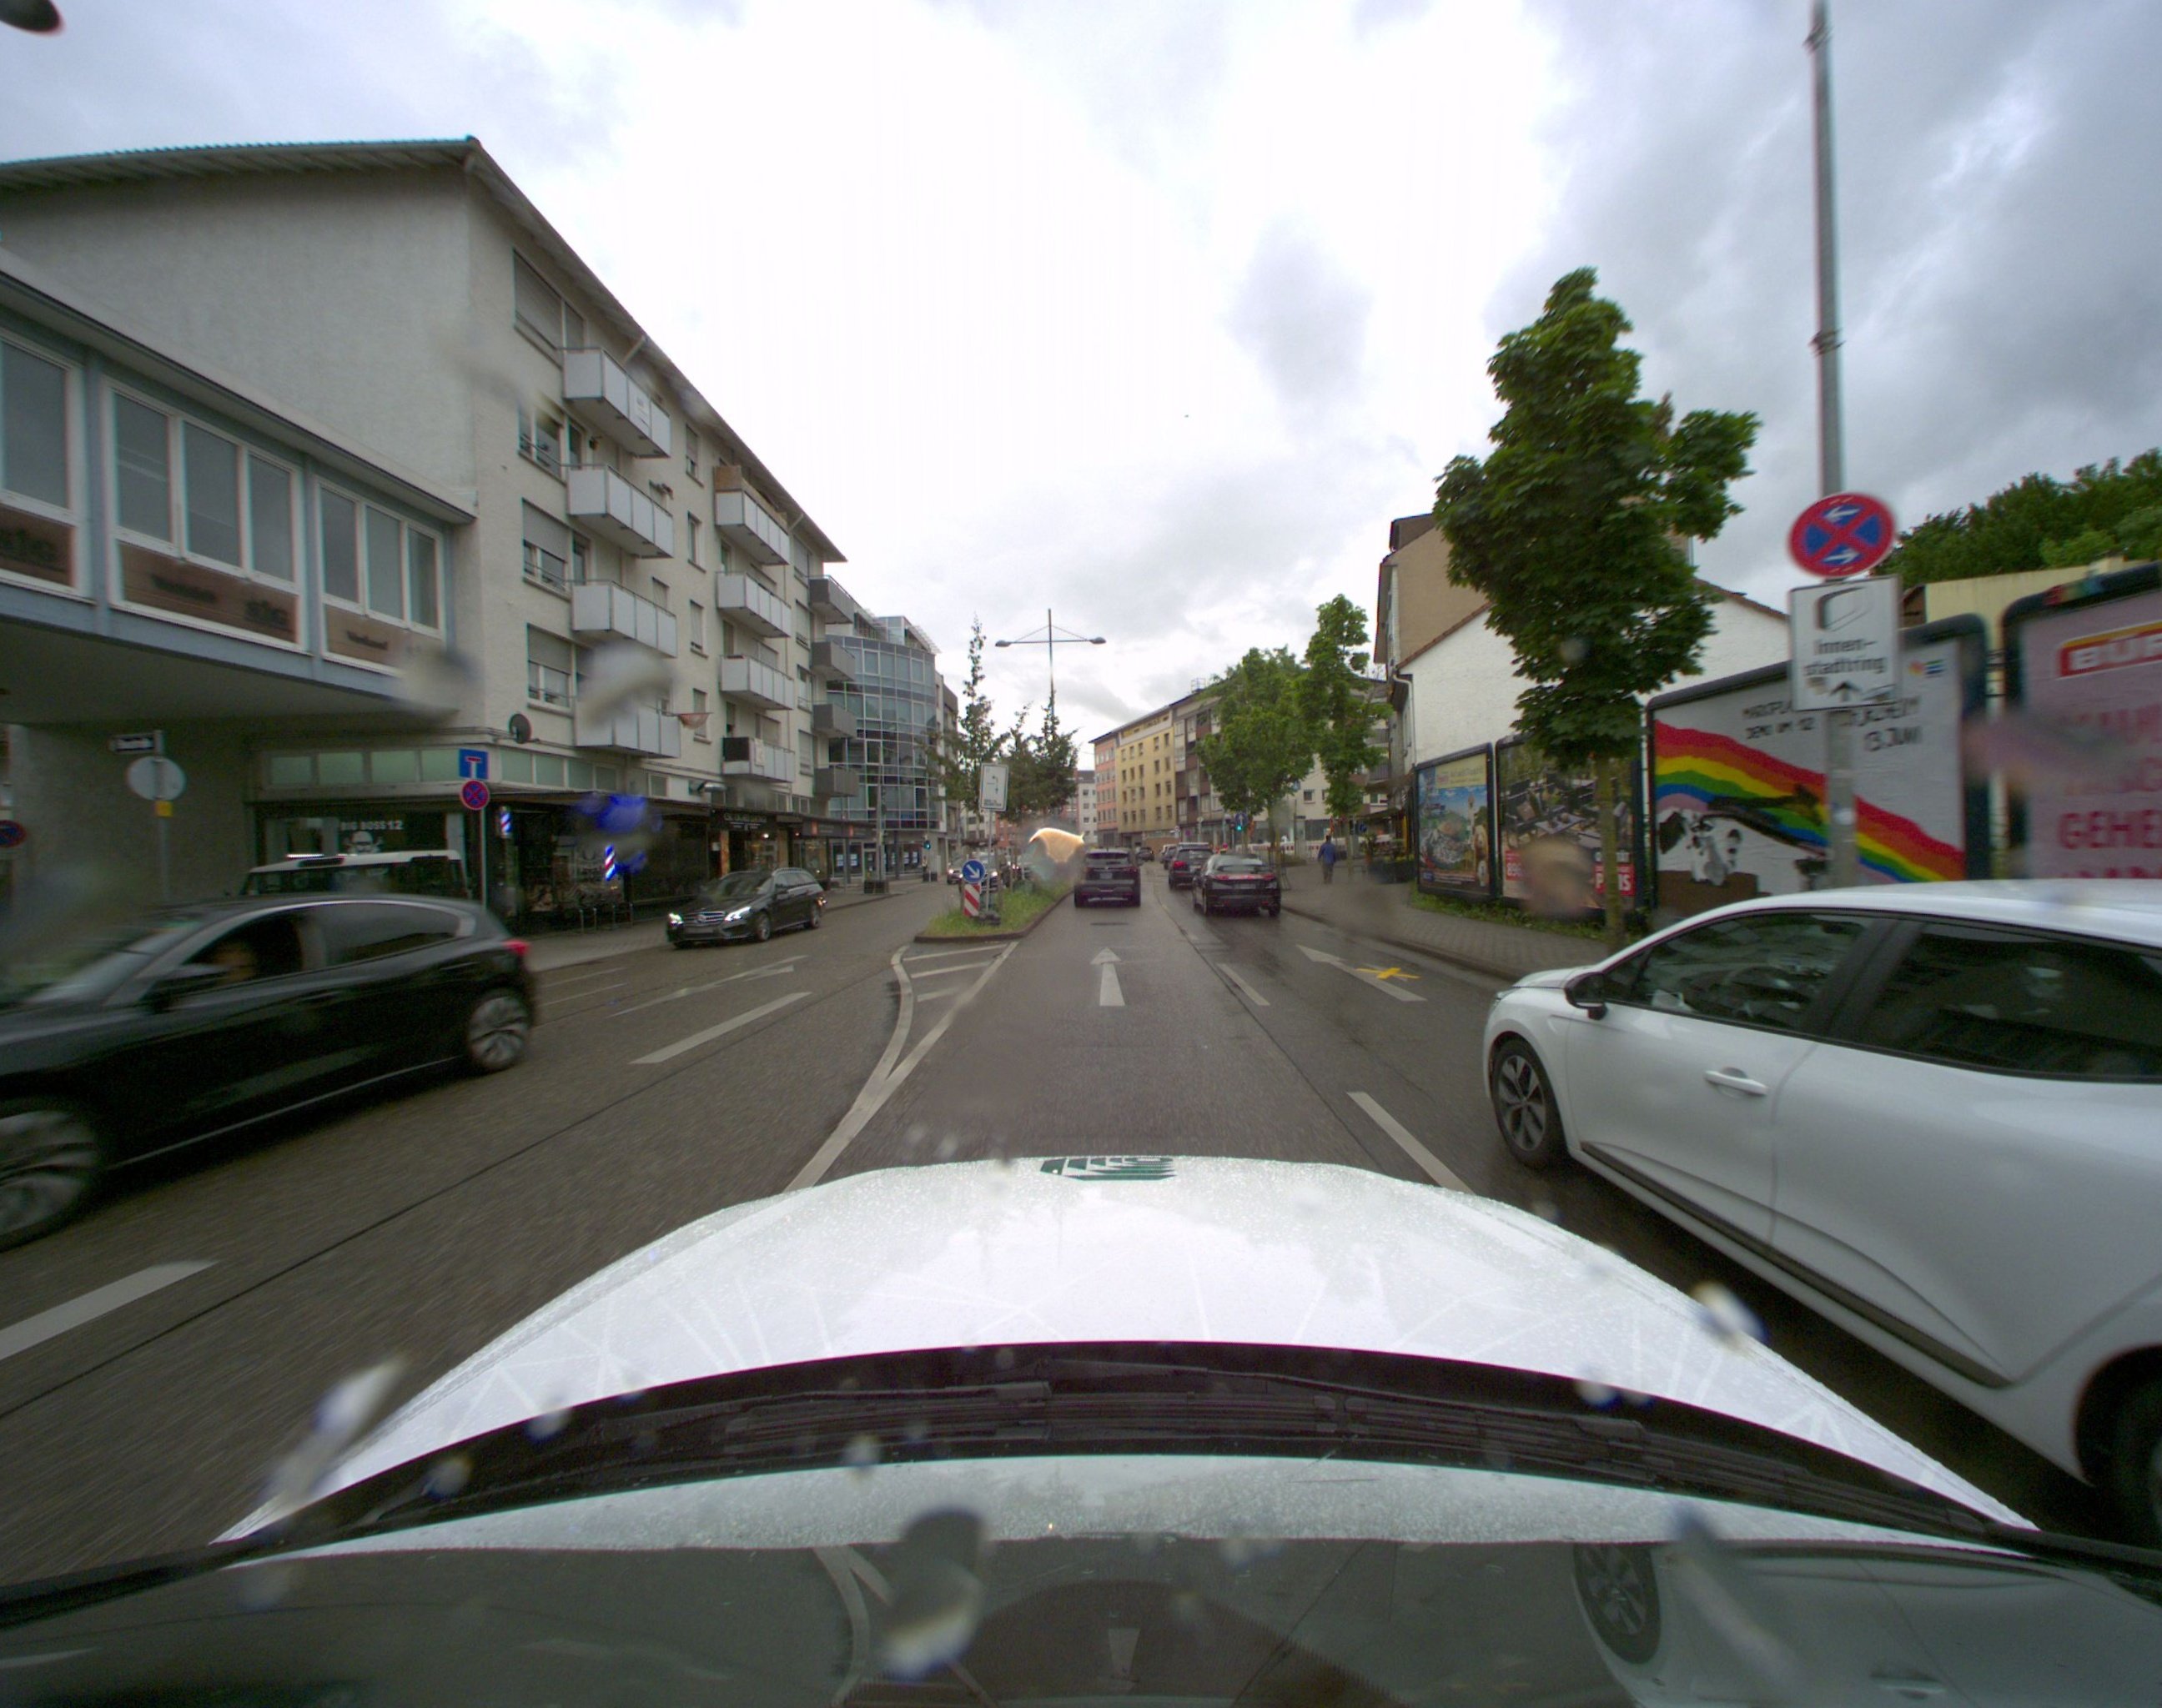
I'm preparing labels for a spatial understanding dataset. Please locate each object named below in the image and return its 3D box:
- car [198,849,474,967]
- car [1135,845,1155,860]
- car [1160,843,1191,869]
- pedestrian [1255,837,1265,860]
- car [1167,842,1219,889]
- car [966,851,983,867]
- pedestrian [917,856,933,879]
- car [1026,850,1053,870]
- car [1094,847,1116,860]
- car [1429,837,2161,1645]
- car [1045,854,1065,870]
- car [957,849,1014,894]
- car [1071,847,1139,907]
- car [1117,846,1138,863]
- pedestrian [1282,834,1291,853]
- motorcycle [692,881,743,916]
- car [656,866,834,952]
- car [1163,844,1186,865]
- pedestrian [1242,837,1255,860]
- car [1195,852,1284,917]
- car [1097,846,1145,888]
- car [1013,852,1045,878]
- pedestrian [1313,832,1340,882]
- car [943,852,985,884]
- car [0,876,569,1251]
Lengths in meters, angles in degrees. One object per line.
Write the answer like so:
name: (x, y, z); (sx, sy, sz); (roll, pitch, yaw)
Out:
car: (-14.211, 0.995, 15.656); (3.944, 2.034, 1.582); (-2, 0, 4)
car: (6.757, -0.204, 86.715); (1.704, 1.611, 3.725); (0, 1, -2)
car: (6.033, 0.118, 52.276); (1.822, 1.562, 3.722); (0, 1, 3)
pedestrian: (15.799, -0.457, 71.955); (0.818, 2.013, 0.841); (0, 0, 5)
car: (4.456, 0.414, 32.921); (1.822, 1.805, 3.722); (0, 1, 3)
car: (-10.482, 0.515, 80.225); (1.548, 1.570, 3.339); (0, -1, -7)
pedestrian: (-11.240, 0.954, 58.687); (0.786, 1.591, 0.755); (-3, 0, -35)
car: (-3.057, 0.420, 60.647); (1.664, 1.370, 3.754); (-3, 0, 1)
car: (2.634, -0.026, 88.532); (1.642, 1.344, 3.335); (-3, 0, -11)
car: (2.823, 0.688, 2.776); (1.659, 1.396, 3.869); (-3, 1, 2)
car: (-2.383, 0.698, 75.214); (1.635, 1.321, 3.349); (-3, 0, 1)
car: (-3.991, 0.695, 34.531); (1.677, 1.661, 4.098); (-4, 0, 2)
car: (0.719, 0.607, 23.462); (1.816, 1.600, 3.721); (0, 0, 2)
car: (4.155, 0.083, 72.746); (1.635, 1.381, 3.348); (-3, 0, 0)
pedestrian: (18.753, -0.968, 74.468); (0.531, 1.769, 0.617); (0, 0, -29)
motorcycle: (-11.373, 1.368, 25.550); (0.523, 0.995, 2.138); (0, 0, 3)
car: (-7.267, 1.111, 18.254); (1.701, 1.468, 4.832); (-5, 0, 2)
car: (7.777, -0.012, 68.034); (1.821, 1.683, 3.725); (0, 1, 5)
pedestrian: (14.854, -0.510, 72.295); (0.823, 2.013, 0.835); (0, 0, -17)
car: (3.776, 0.676, 19.981); (1.778, 1.400, 3.724); (-1, 0, 5)
car: (1.622, 0.507, 32.960); (1.816, 1.600, 3.721); (0, 0, 2)
car: (-3.198, 0.659, 50.695); (1.527, 1.412, 3.938); (-4, 0, 2)
pedestrian: (8.849, 0.112, 29.403); (0.785, 1.755, 0.875); (-3, 0, 15)
car: (-6.643, 0.769, 46.660); (1.626, 1.591, 3.938); (-4, 0, 1)
car: (-5.239, 0.964, 4.709); (1.714, 1.423, 4.167); (-4, 0, 2)
